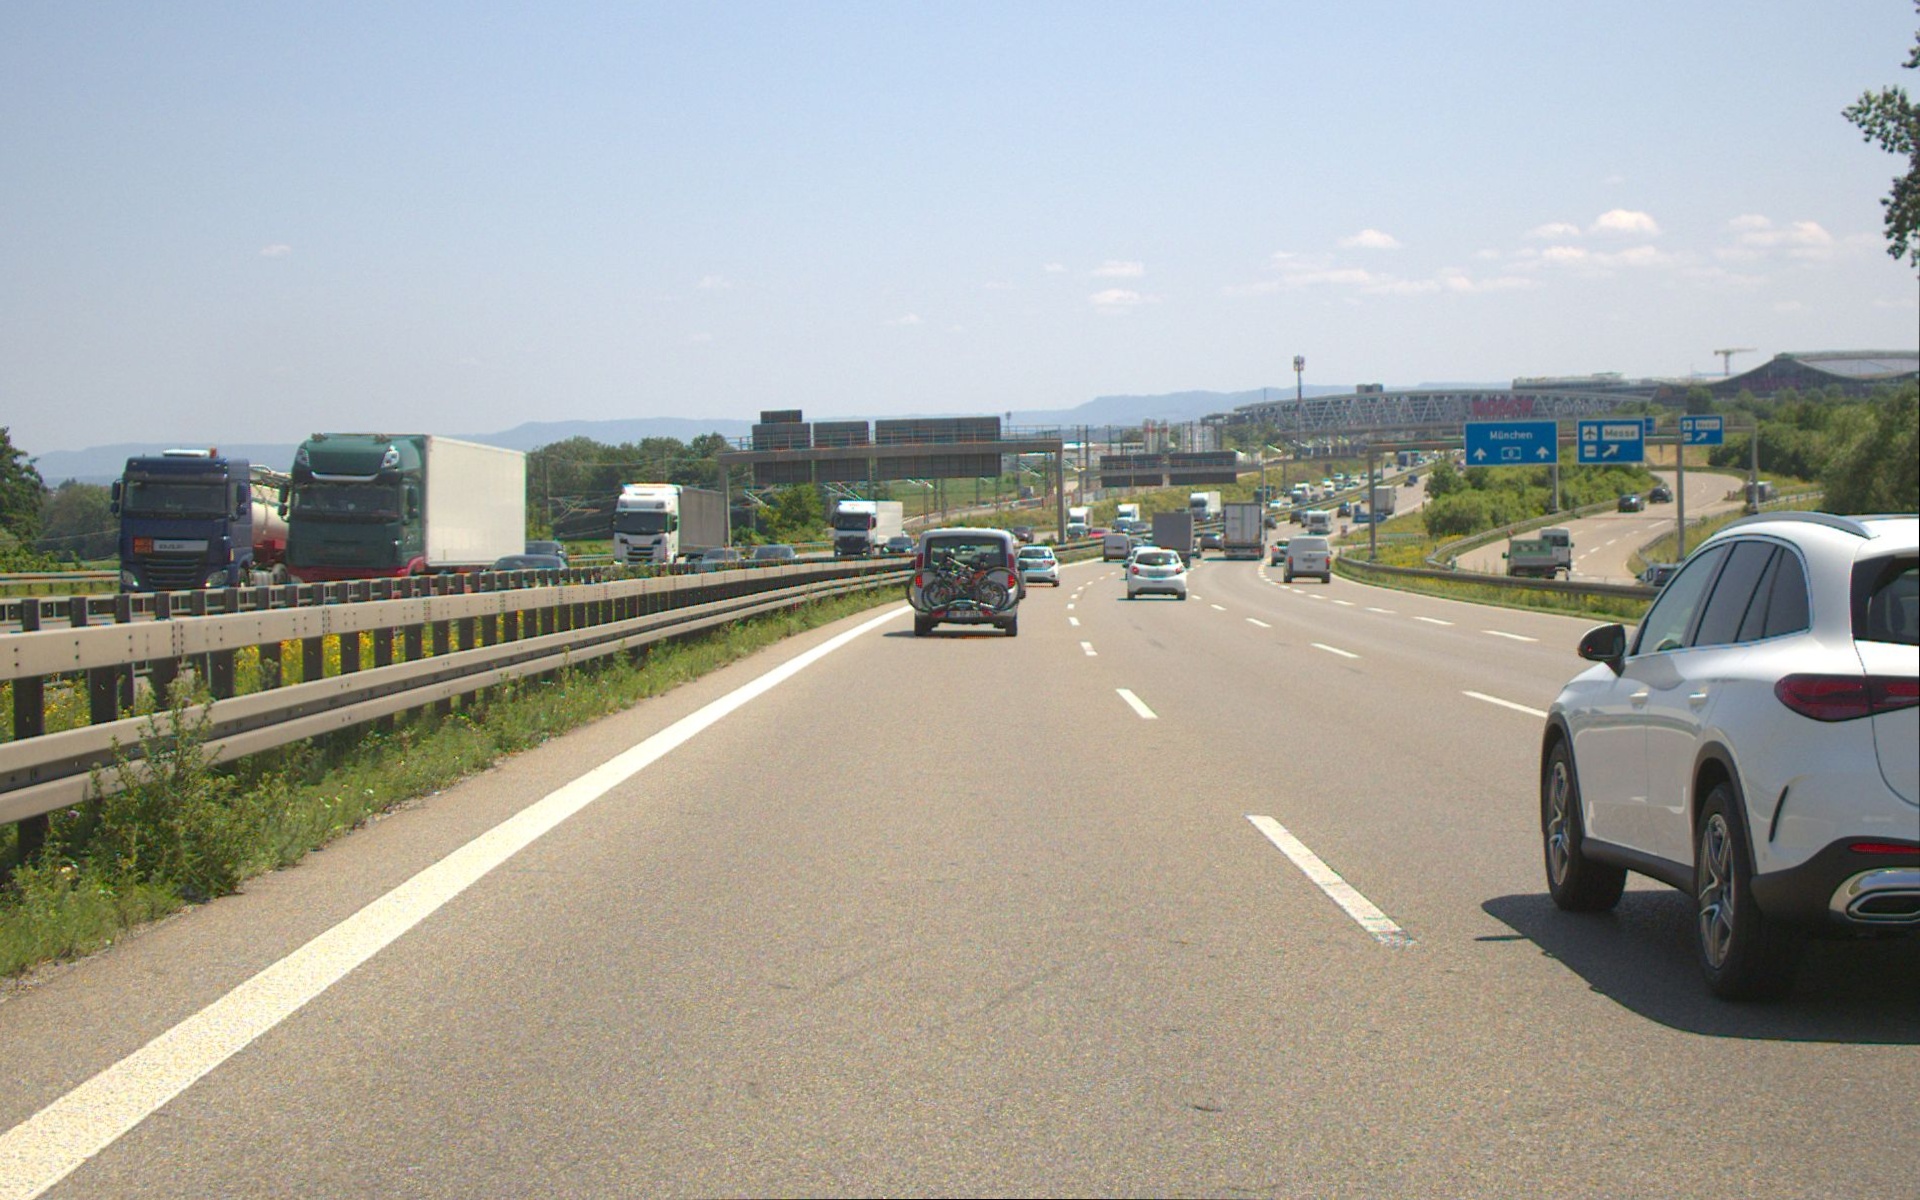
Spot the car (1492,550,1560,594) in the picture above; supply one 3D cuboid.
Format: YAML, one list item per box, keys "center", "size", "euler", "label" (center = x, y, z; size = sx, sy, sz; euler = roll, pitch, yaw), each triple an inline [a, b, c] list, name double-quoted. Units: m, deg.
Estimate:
- center: [25.987, -1.307, 158.009]
  size: [1.993, 2.007, 4.001]
  euler: [0, 1, -7]
  label: "car"

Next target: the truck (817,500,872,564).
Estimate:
- center: [-7.683, -4.527, 229.246]
  size: [3.035, 4.226, 6.684]
  euler: [0, 1, 4]
  label: "truck"

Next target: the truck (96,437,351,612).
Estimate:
- center: [-17.128, -1.763, 81.041]
  size: [3.219, 3.773, 12.902]
  euler: [0, 1, 0]
  label: "truck"

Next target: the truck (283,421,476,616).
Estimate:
- center: [-12.804, -1.772, 76.465]
  size: [2.967, 4.105, 7.598]
  euler: [0, 1, 0]
  label: "truck"

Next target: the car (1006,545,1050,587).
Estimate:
- center: [2.528, -1.269, 128.532]
  size: [1.576, 1.547, 3.964]
  euler: [0, 1, 1]
  label: "car"

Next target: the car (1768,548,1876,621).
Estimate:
- center: [23.243, -0.445, 92.838]
  size: [1.939, 1.917, 4.179]
  euler: [0, 1, 1]
  label: "car"

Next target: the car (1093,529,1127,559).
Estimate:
- center: [9.949, -3.714, 227.724]
  size: [2.186, 1.996, 4.000]
  euler: [0, 1, 3]
  label: "car"

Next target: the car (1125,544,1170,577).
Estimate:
- center: [8.452, -1.797, 154.800]
  size: [1.982, 1.468, 4.000]
  euler: [0, 1, 3]
  label: "car"

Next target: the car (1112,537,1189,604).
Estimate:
- center: [5.535, -0.877, 100.351]
  size: [1.926, 1.912, 4.518]
  euler: [0, 1, -1]
  label: "car"

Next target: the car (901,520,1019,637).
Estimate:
- center: [0.016, -0.387, 58.872]
  size: [1.926, 1.912, 4.948]
  euler: [0, 1, 1]
  label: "car"

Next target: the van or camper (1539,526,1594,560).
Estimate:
- center: [36.175, -3.376, 205.152]
  size: [2.529, 2.007, 4.461]
  euler: [0, 1, 1]
  label: "van or camper"

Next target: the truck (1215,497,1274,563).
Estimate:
- center: [20.031, -5.006, 242.639]
  size: [4.040, 4.247, 11.757]
  euler: [0, 3, 4]
  label: "truck"

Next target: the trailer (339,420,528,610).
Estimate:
- center: [-12.764, -2.023, 84.296]
  size: [2.955, 4.357, 10.733]
  euler: [0, 1, 0]
  label: "trailer"

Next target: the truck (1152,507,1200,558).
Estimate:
- center: [13.459, -4.144, 213.718]
  size: [2.703, 3.098, 10.657]
  euler: [0, 1, 5]
  label: "truck"

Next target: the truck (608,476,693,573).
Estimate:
- center: [-13.413, -3.260, 149.478]
  size: [2.881, 4.103, 6.384]
  euler: [1, 1, 2]
  label: "truck"

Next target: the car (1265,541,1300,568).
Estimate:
- center: [20.250, -2.864, 215.769]
  size: [1.994, 1.684, 4.000]
  euler: [0, 1, 3]
  label: "car"

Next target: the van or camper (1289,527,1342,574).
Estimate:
- center: [15.260, -2.124, 147.836]
  size: [2.156, 2.007, 4.304]
  euler: [0, 1, 5]
  label: "van or camper"

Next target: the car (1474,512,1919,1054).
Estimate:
- center: [3.338, 0.526, 12.935]
  size: [1.898, 1.641, 4.999]
  euler: [0, 1, -2]
  label: "car"

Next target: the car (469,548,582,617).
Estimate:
- center: [-9.067, -0.386, 72.032]
  size: [1.804, 1.385, 4.291]
  euler: [0, 1, 0]
  label: "car"

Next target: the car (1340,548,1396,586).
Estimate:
- center: [18.641, -1.509, 157.220]
  size: [1.993, 1.684, 4.000]
  euler: [0, 1, -1]
  label: "car"

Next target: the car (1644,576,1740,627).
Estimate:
- center: [24.033, 0.038, 113.027]
  size: [1.993, 1.590, 4.001]
  euler: [0, 1, -5]
  label: "car"
